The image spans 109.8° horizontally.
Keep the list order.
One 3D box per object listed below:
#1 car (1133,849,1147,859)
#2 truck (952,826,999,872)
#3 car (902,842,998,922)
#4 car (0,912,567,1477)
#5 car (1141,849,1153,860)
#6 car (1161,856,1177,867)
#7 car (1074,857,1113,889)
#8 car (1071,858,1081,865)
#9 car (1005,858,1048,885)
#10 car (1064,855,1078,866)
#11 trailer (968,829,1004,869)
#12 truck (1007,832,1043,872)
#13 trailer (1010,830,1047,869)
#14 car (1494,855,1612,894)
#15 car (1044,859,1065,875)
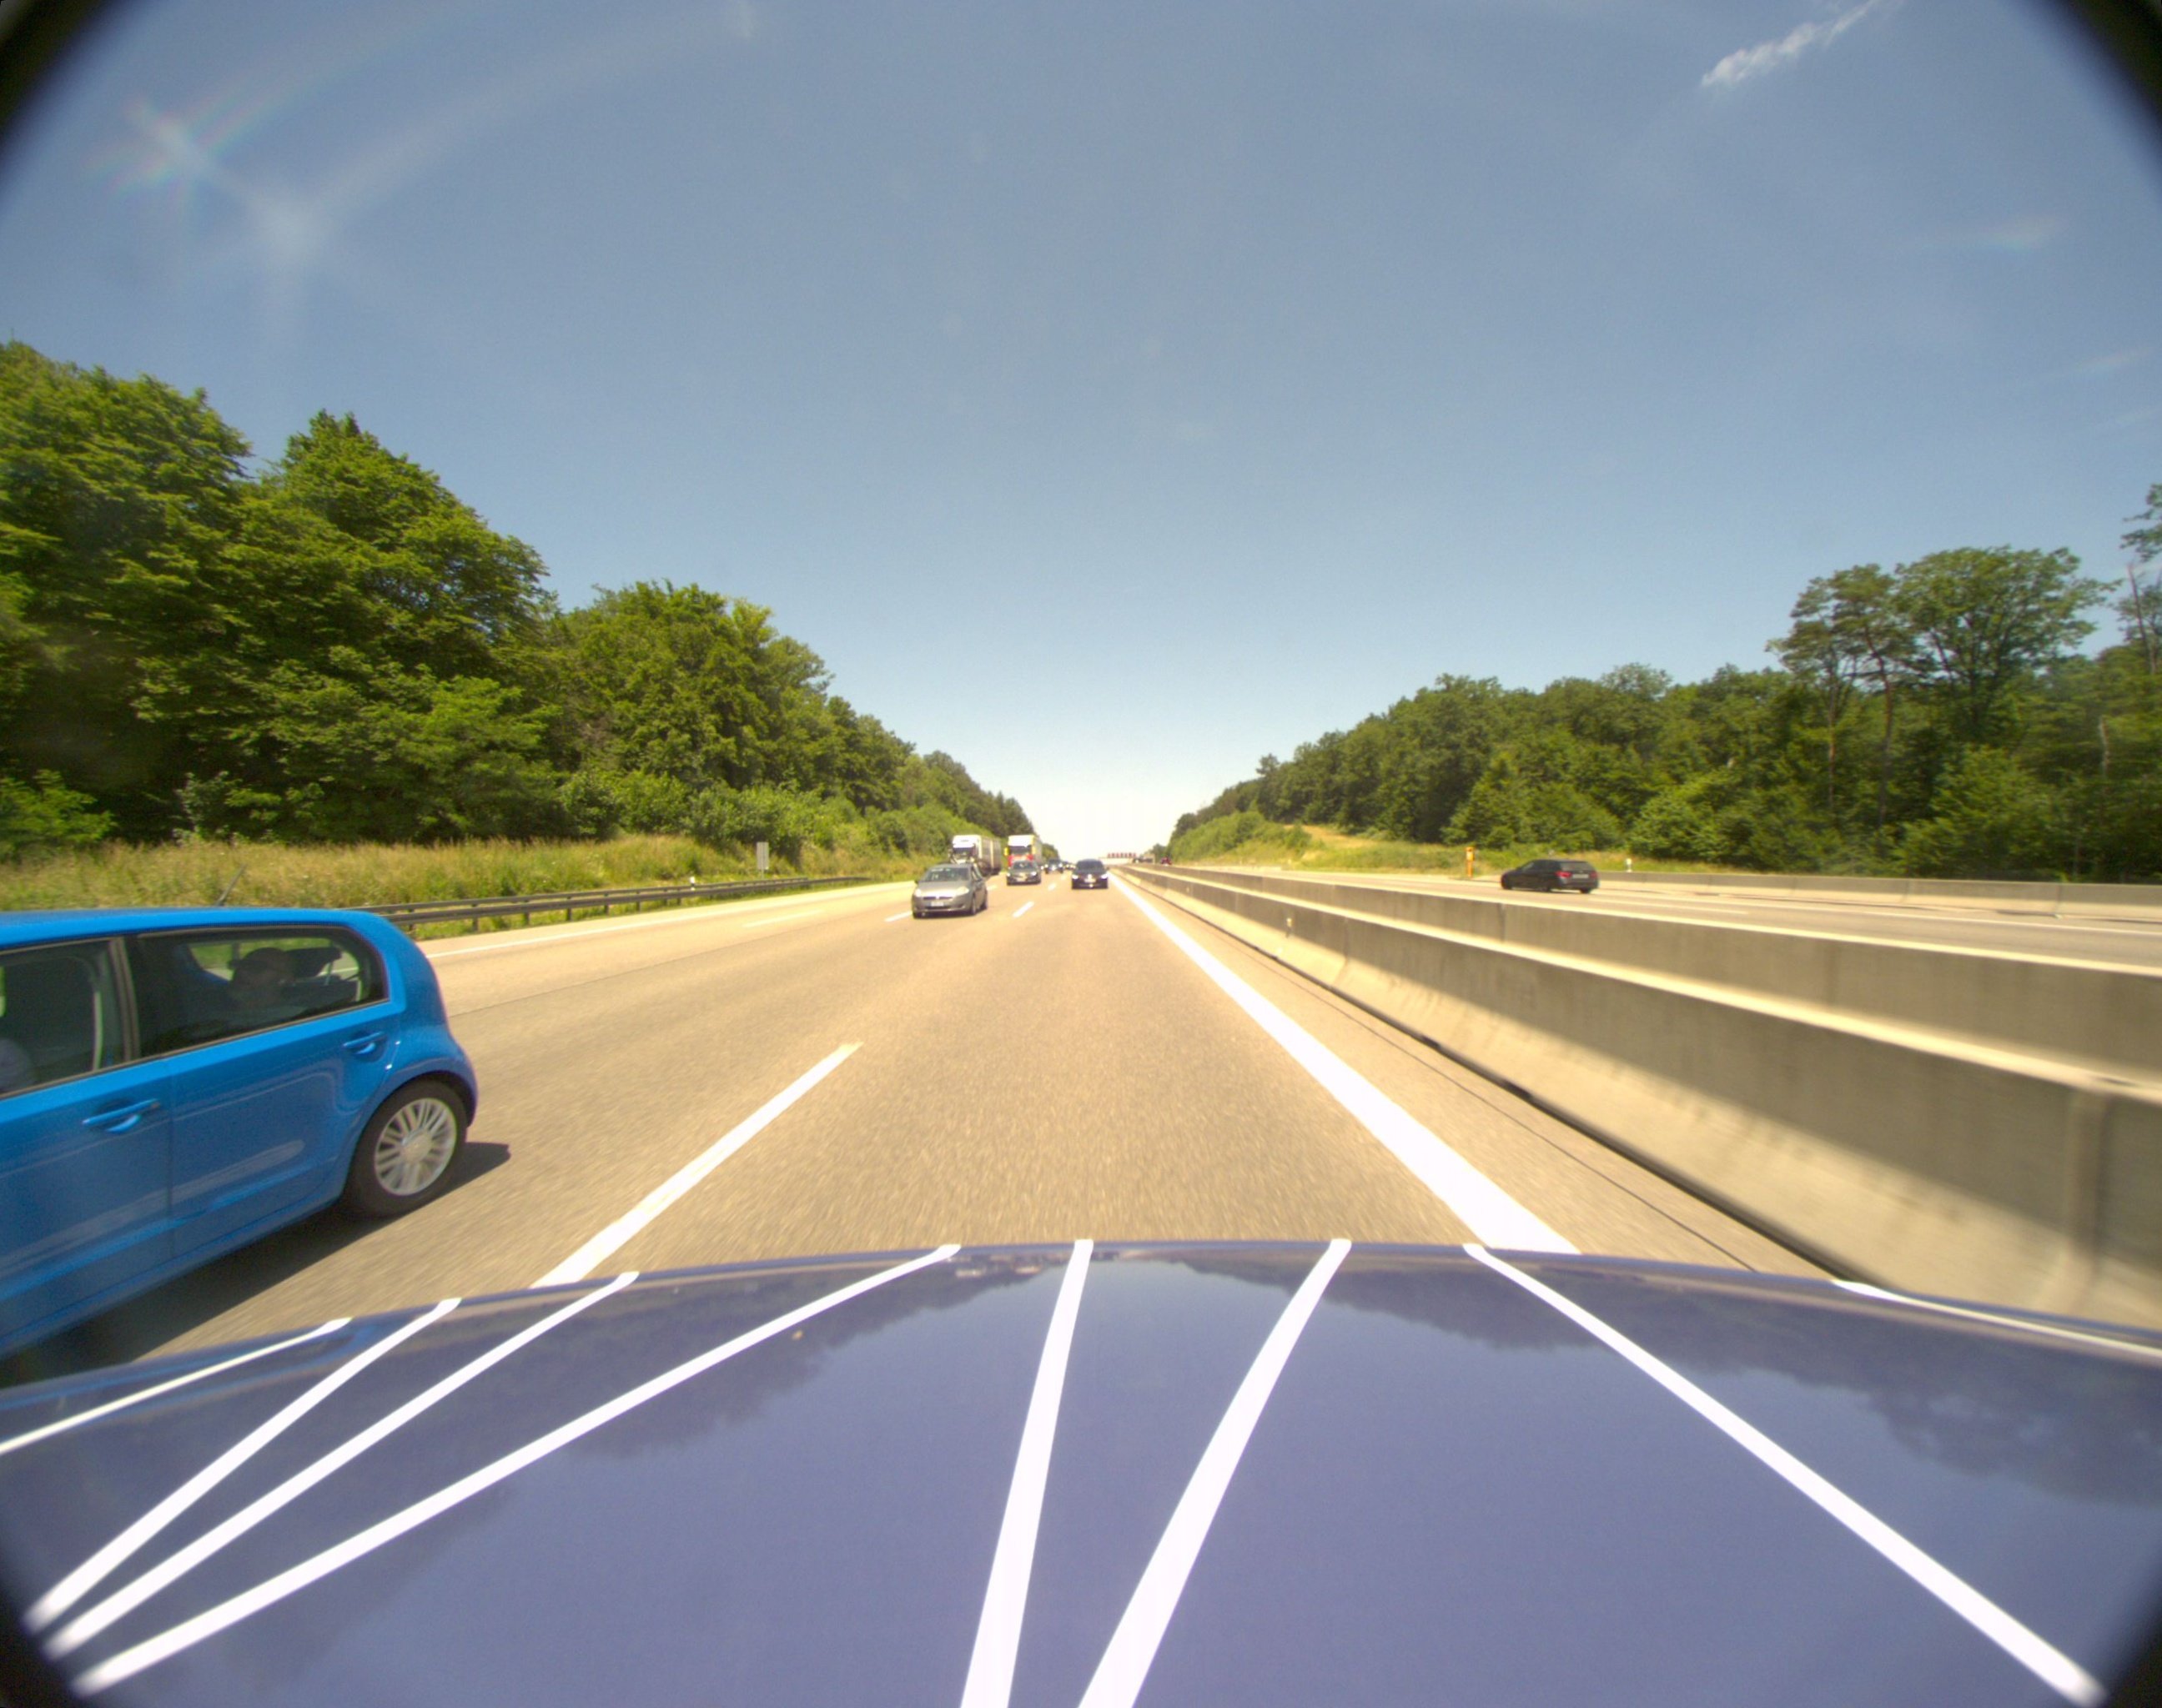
[{"bbox_3d":[10.132,0.035,131.542,1.998,1.663,5.281,1,0,0],"label":"car"},{"bbox_3d":[-10.363,-0.431,75.869,2.728,4.136,10.971,-2,-1,1],"label":"truck"},{"bbox_3d":[-3.717,0.747,22.431,1.966,2.041,4.783,-3,0,-1],"label":"car"},{"bbox_3d":[-3.888,1.053,2.382,1.741,1.403,4.000,-1,0,1],"label":"car"},{"bbox_3d":[13.462,0.087,155.793,1.999,2.002,4.811,-1,0,-1],"label":"car"},{"bbox_3d":[14.000,1.111,121.376,1.998,1.665,5.281,1,0,0],"label":"car"},{"bbox_3d":[0.612,0.940,37.987,1.777,1.425,4.144,-2,-1,1],"label":"car"},{"bbox_3d":[-0.990,1.471,149.606,1.715,1.308,3.490,-3,1,1],"label":"car"},{"bbox_3d":[-3.268,1.031,46.623,1.971,1.444,5.225,-2,-1,3],"label":"car"},{"bbox_3d":[-1.448,0.976,114.016,1.910,1.503,4.160,-2,-1,2],"label":"car"},{"bbox_3d":[-10.304,-0.431,82.983,2.585,4.045,8.384,-2,-1,1],"label":"trailer"},{"bbox_3d":[-5.872,-0.160,80.360,3.018,3.957,7.541,-2,-1,1],"label":"truck"},{"bbox_3d":[-5.858,-0.332,87.029,2.926,4.118,14.852,-1,-1,1],"label":"trailer"},{"bbox_3d":[19.264,0.767,31.295,1.843,1.433,4.763,1,0,0],"label":"car"},{"bbox_3d":[-2.721,1.365,79.102,1.910,1.503,4.160,-2,-1,2],"label":"car"}]
